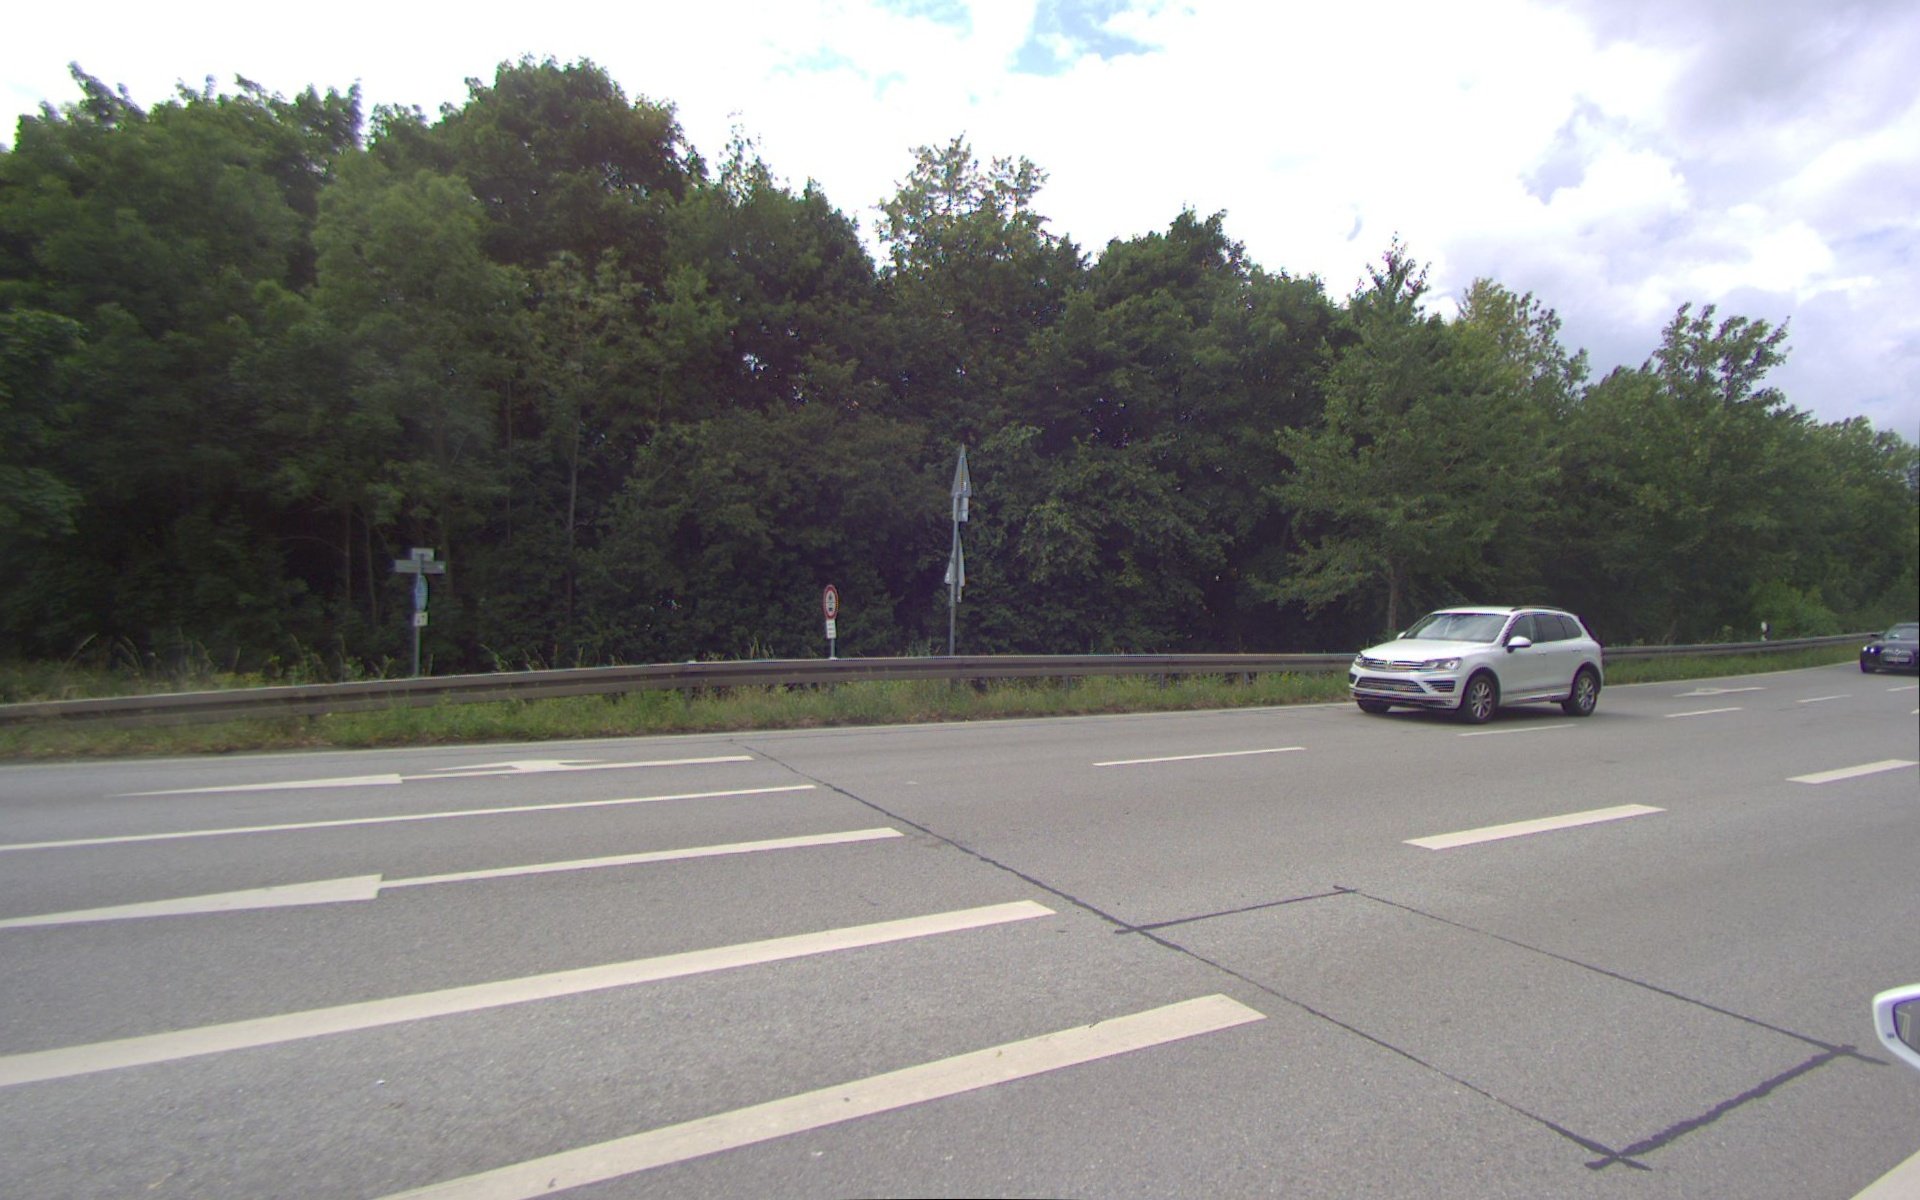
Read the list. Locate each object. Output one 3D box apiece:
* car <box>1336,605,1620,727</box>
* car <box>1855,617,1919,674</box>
[{"bbox_3d":[8.224,0.952,15.830,4.683,1.665,1.848,1,0,-32],"label":"car"},{"bbox_3d":[27.612,1.275,29.419,4.516,1.518,1.701,1,0,-43],"label":"car"}]
